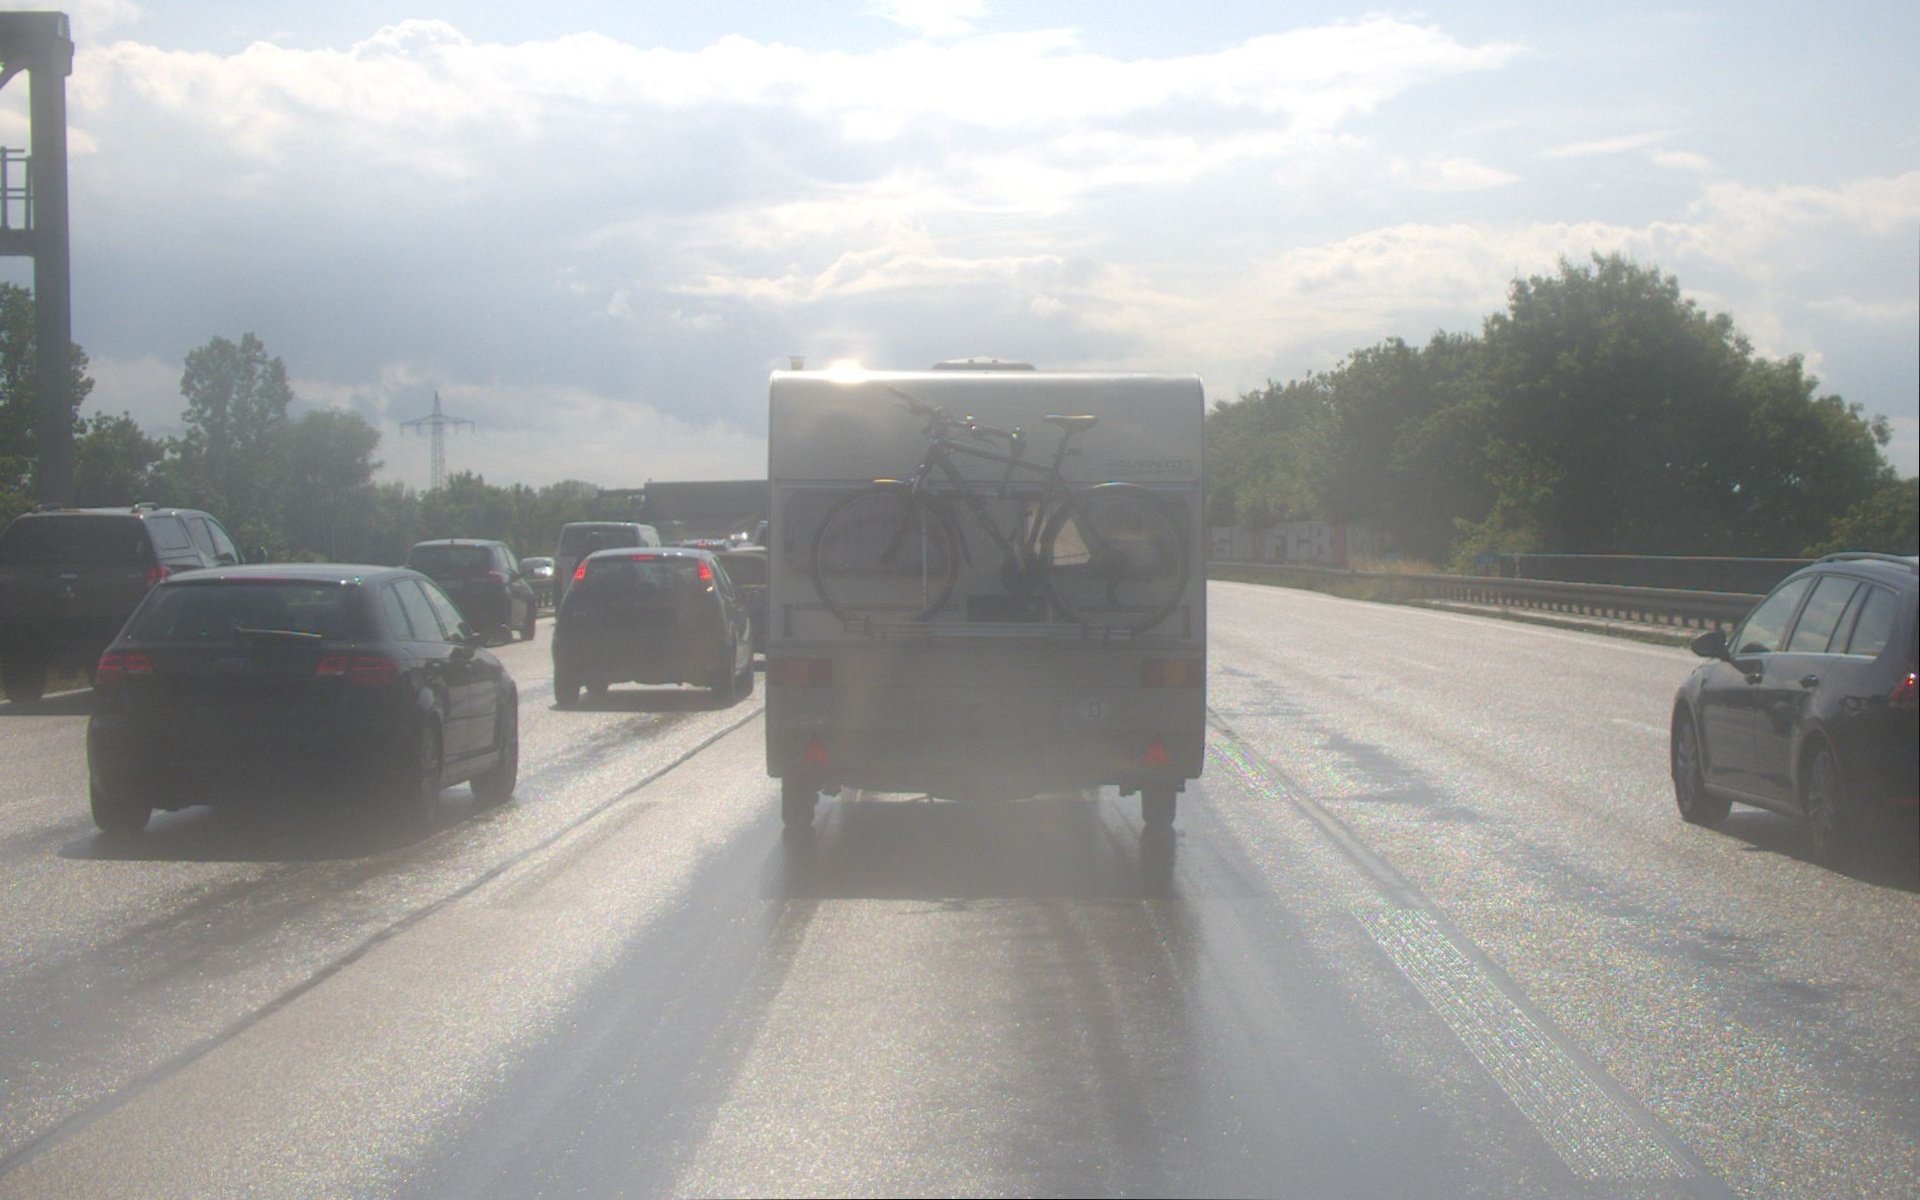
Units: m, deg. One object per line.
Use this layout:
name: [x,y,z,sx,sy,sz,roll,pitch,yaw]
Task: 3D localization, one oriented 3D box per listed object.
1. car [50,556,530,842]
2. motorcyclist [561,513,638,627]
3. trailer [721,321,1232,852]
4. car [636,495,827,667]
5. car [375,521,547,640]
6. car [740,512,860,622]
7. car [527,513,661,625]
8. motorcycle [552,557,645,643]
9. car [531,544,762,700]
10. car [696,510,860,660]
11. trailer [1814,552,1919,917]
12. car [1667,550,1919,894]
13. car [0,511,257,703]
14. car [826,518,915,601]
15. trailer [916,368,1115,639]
car: [-3.531,0.461,18.825,1.757,1.382,3.945,0,1,2]
motorcyclist: [-5.485,-0.463,52.324,1.064,1.712,0.785,0,1,1]
trailer: [0.108,-0.103,19.479,2.374,2.475,6.523,1,1,1]
car: [-2.788,-0.255,42.792,1.993,2.007,4.000,1,1,1]
car: [-7.675,-0.319,53.231,1.993,1.766,4.000,0,1,1]
car: [-2.991,-0.644,64.994,1.993,2.007,4.000,0,1,1]
car: [-7.145,-0.615,67.517,1.994,2.007,4.000,4,1,1]
motorcycle: [-5.483,-0.022,52.369,1.074,1.267,2.690,0,1,1]
car: [-2.986,0.174,33.456,1.806,1.402,4.000,1,1,1]
car: [-2.643,-0.249,50.862,1.994,2.007,4.000,4,1,1]
trailer: [4.722,0.539,13.269,1.854,1.437,4.148,0,1,1]
car: [4.762,0.484,16.601,1.854,1.437,4.258,0,1,1]
car: [-8.157,0.036,33.088,1.993,1.714,4.000,1,1,-1]
car: [-2.200,-1.007,85.602,1.993,2.007,4.000,0,1,1]
trailer: [1.051,-1.555,57.350,3.007,4.152,8.535,1,1,3]
